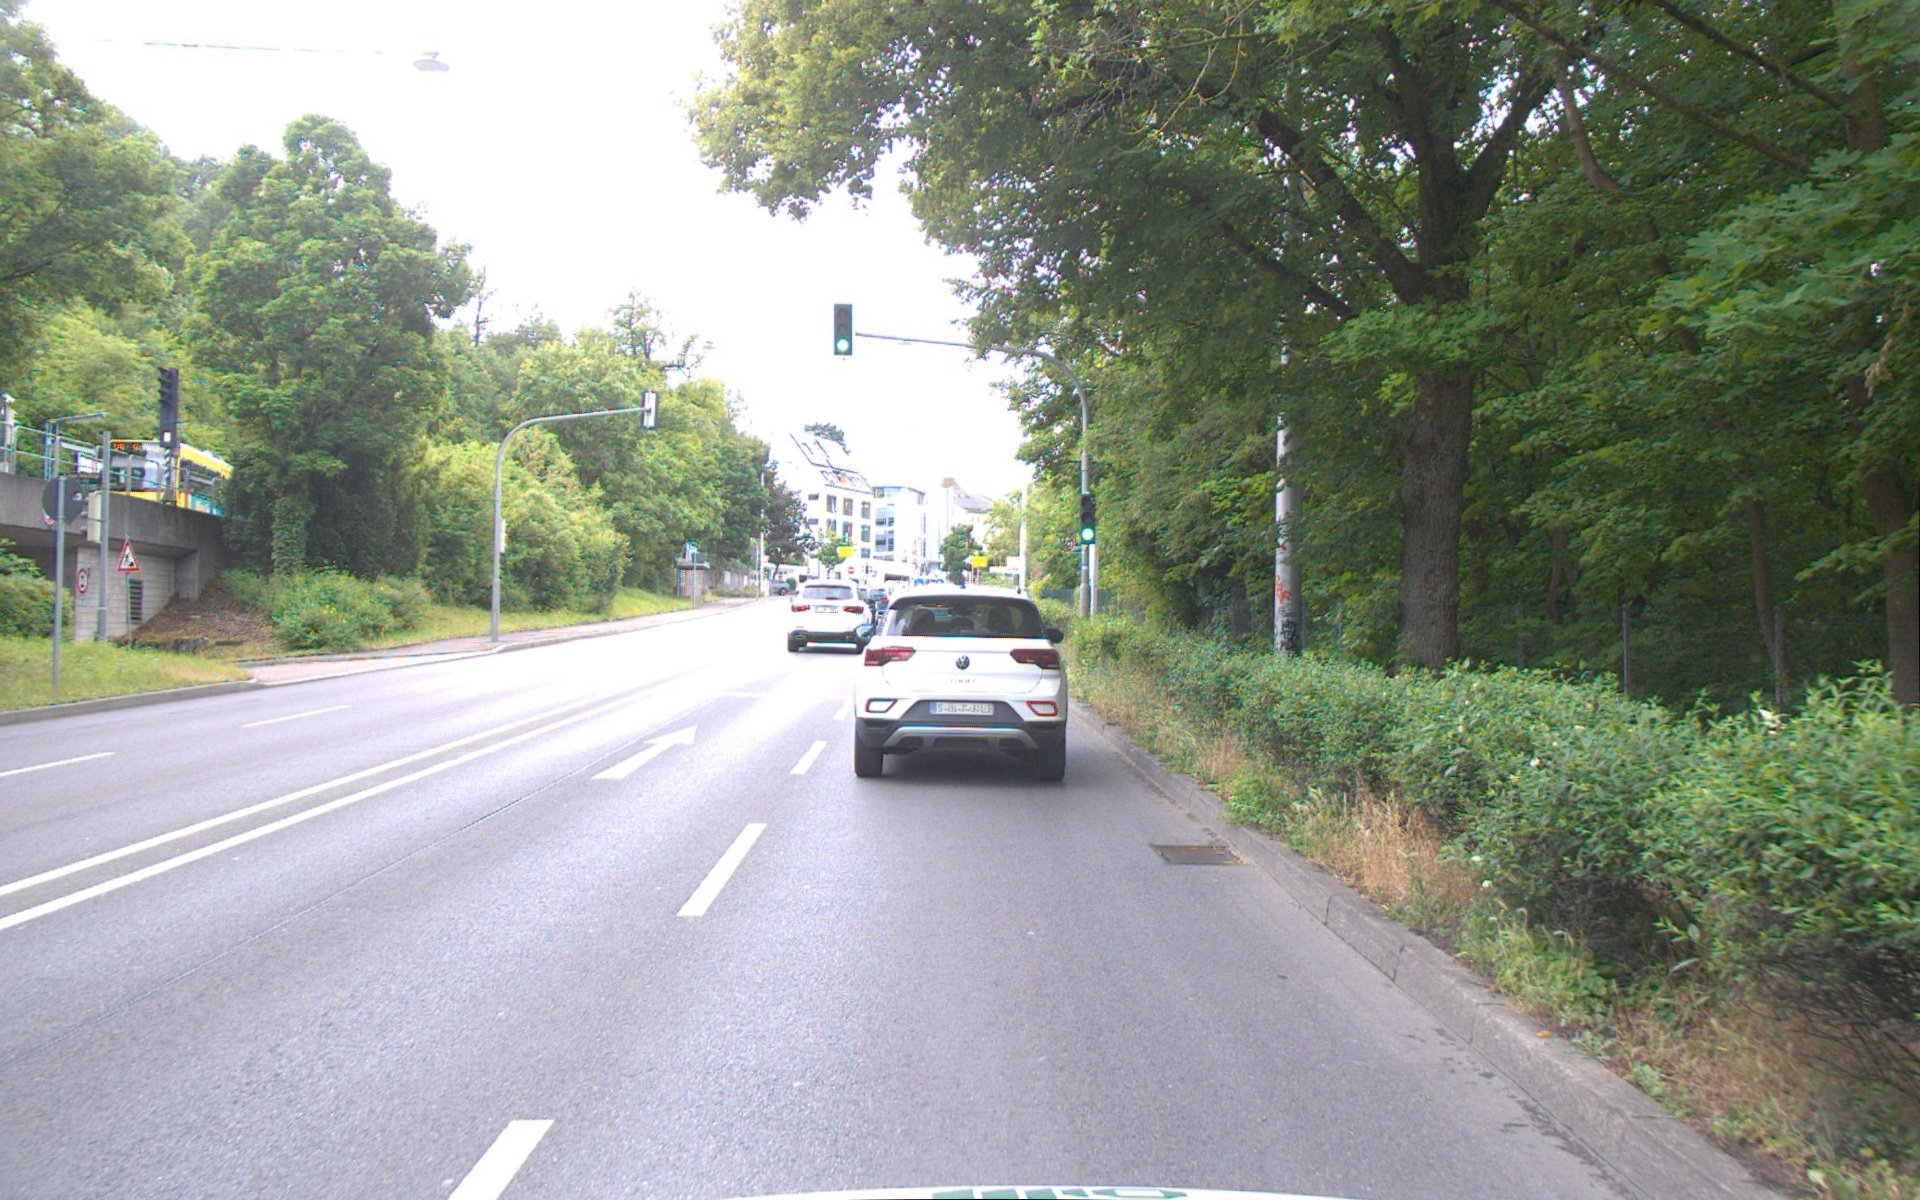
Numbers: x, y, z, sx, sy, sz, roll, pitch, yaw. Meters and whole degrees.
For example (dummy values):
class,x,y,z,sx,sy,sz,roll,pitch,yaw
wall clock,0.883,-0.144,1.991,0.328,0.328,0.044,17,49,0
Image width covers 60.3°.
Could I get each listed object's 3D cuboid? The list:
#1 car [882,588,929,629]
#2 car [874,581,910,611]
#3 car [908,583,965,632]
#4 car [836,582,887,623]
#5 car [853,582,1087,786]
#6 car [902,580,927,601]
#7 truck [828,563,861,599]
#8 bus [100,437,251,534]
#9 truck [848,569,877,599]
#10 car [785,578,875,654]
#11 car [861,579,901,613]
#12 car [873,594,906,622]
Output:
class,x,y,z,sx,sy,sz,roll,pitch,yaw
car,-2.097,0.326,64.940,1.792,1.552,3.999,0,0,-1
car,-3.576,-0.213,87.206,1.792,1.552,3.999,0,0,-1
car,-0.786,0.219,53.998,1.792,1.552,3.999,0,0,-1
car,-3.706,0.076,62.709,1.792,1.523,3.999,0,0,-1
car,0.041,0.634,14.710,1.792,1.552,3.999,0,0,-1
car,-3.394,-0.741,124.309,1.792,1.552,3.999,0,0,-1
truck,-9.002,-1.460,129.458,2.314,2.754,4.477,-1,0,-1
bus,-28.392,-4.064,60.270,2.492,2.838,7.932,0,-1,-6
truck,-10.551,-1.719,179.347,2.245,3.104,6.982,-1,0,3
car,-3.015,0.349,38.987,1.879,1.698,3.999,0,0,-1
car,-3.758,-0.207,78.859,1.792,1.552,3.999,0,0,-1
car,-4.045,0.419,95.301,1.792,1.552,3.999,0,0,-1
